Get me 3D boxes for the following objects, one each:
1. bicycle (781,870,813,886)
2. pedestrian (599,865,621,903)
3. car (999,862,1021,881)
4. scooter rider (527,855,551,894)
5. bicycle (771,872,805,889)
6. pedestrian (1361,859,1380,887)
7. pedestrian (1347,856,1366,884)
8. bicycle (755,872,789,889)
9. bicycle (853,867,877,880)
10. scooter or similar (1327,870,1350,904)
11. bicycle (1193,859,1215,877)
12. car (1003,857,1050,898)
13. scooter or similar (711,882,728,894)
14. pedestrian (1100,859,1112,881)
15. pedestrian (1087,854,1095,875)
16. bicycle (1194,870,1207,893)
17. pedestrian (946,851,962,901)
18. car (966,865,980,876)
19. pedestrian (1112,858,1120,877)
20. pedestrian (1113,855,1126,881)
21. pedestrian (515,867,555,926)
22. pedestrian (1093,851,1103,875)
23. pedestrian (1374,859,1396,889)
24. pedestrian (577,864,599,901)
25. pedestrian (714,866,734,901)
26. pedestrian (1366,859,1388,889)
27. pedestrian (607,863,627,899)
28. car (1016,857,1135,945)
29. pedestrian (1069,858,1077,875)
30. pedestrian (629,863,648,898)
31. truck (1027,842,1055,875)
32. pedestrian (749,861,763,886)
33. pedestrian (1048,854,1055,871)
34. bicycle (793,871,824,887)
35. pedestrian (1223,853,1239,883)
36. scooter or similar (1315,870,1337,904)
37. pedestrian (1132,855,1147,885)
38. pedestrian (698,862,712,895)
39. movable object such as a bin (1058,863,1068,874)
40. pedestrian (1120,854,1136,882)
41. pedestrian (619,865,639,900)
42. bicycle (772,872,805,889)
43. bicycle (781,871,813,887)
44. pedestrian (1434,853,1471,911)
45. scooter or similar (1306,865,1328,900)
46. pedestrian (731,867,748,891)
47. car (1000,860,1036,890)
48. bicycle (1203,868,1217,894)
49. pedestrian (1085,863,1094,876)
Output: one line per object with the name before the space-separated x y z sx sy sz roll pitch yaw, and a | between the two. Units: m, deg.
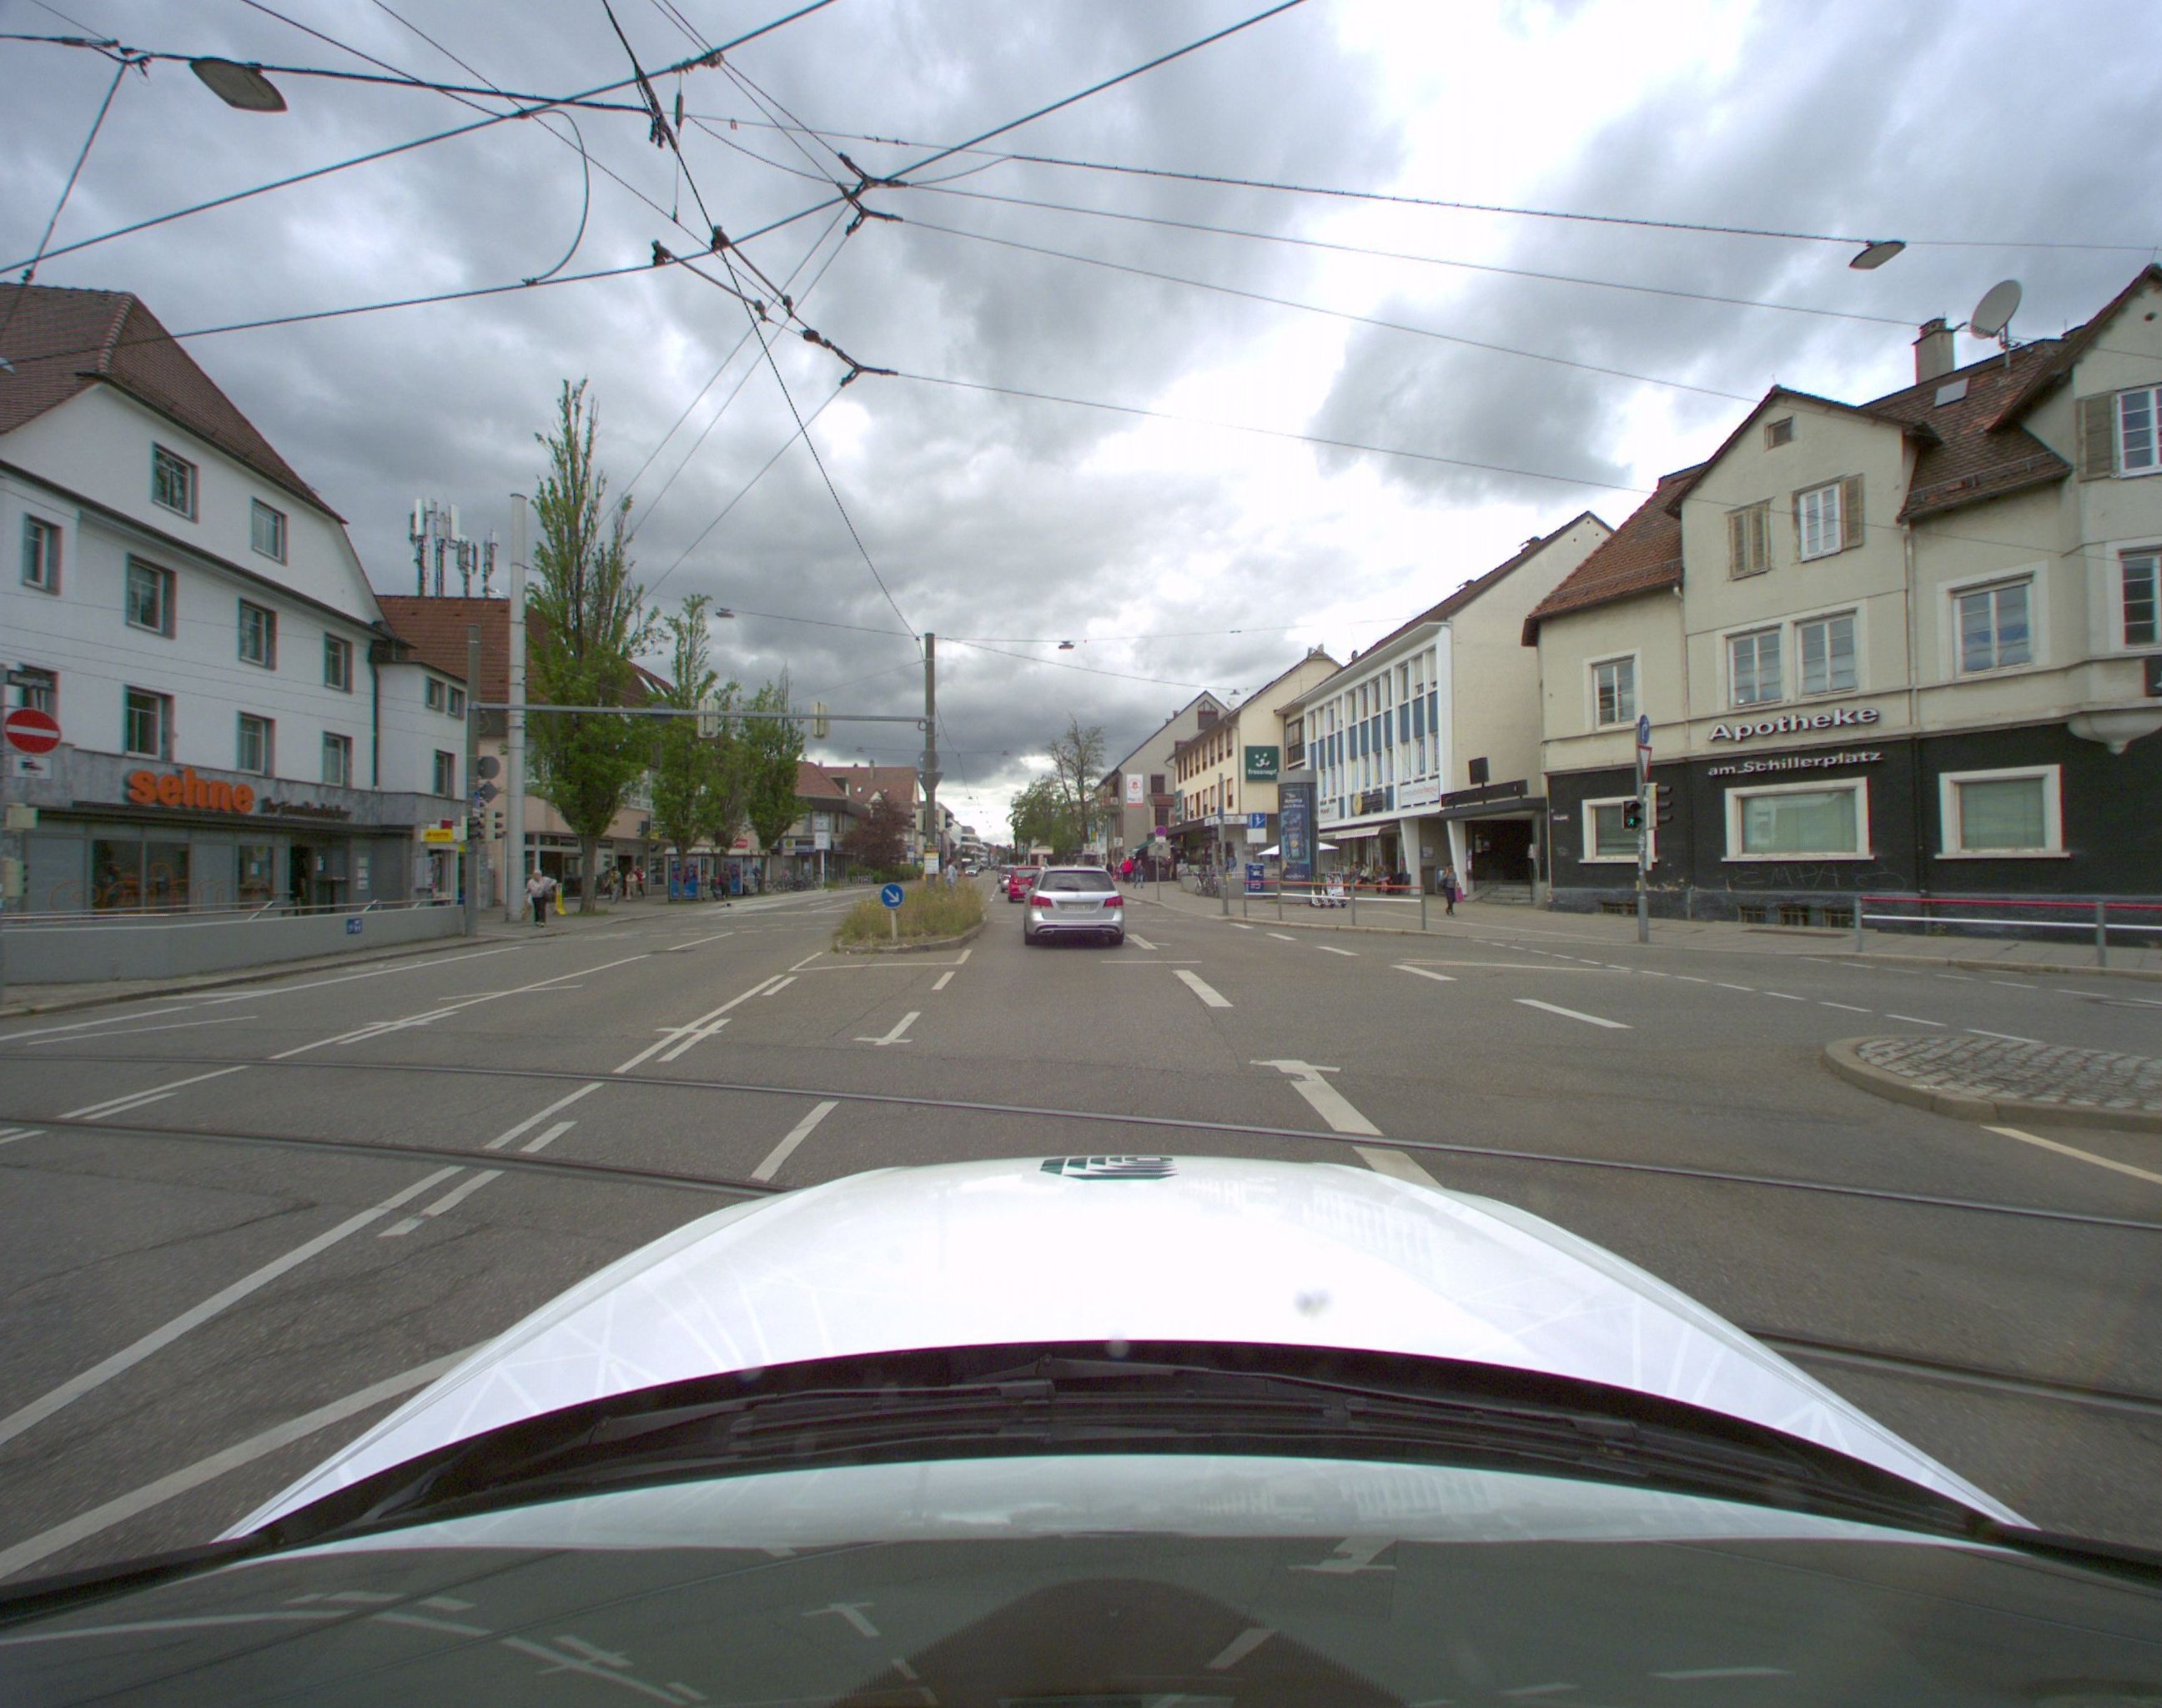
bicycle | -19.651 1.635 56.431 2.021 1.090 0.645 0 -1 -16
pedestrian | -20.776 1.327 35.928 0.585 1.634 0.613 3 -1 -8
car | -6.477 1.594 74.592 1.990 1.684 3.993 0 -1 -5
scooter rider | -24.118 0.902 36.228 0.613 1.712 0.586 3 -1 -9
bicycle | -19.468 1.730 54.178 2.018 1.090 0.647 0 -1 -11
pedestrian | 12.843 0.835 36.147 0.612 1.220 0.586 0 0 -8
pedestrian | 12.451 0.727 36.812 0.612 1.220 0.586 3 -1 -8
bicycle | -20.174 1.741 53.170 2.024 1.090 0.645 0 -1 -20
bicycle | -19.003 1.717 71.606 2.021 1.090 0.645 0 -1 -16
scooter or similar | 8.845 1.134 28.030 0.314 1.132 1.206 -1 0 -4
bicycle | 7.737 0.874 51.211 0.740 1.062 2.345 -1 0 -7
car | -2.267 0.952 33.241 1.752 1.521 3.992 1 -1 -5
scooter or similar | -18.254 1.702 41.075 0.591 0.601 0.701 0 -1 -6
pedestrian | 1.850 1.178 59.618 0.718 1.634 0.613 -1 -1 -9
pedestrian | 0.987 1.005 77.425 0.609 2.047 0.589 -2 -1 7
bicycle | 5.175 1.175 35.317 0.273 0.974 1.385 -1 0 -4
pedestrian | -4.228 0.709 27.059 0.503 1.634 0.661 0 -1 -12
car | -15.523 2.321 117.320 1.871 1.506 4.335 -2 -1 -5
pedestrian | 2.855 1.107 67.021 0.585 1.634 0.614 0 -1 -4
pedestrian | 2.635 0.967 55.573 0.682 1.742 0.779 -2 -2 -11
pedestrian | -15.743 1.220 23.492 0.700 1.634 0.613 3 -1 -11
pedestrian | 1.188 0.619 57.740 0.611 1.678 0.614 3 -1 -4
pedestrian | 12.422 0.817 33.300 0.612 1.220 0.586 3 -1 -8
pedestrian | -22.596 1.313 37.308 0.585 1.634 0.613 3 -1 -8
pedestrian | -17.225 1.411 39.270 0.583 1.652 0.715 0 0 4
pedestrian | 12.318 0.813 33.920 0.612 1.220 0.586 -2 0 -8
pedestrian | -22.926 1.339 40.227 0.585 1.712 0.613 3 -1 -8
car | -0.241 0.833 15.989 1.872 1.506 3.990 0 -1 -7
pedestrian | -0.776 1.221 80.707 0.538 1.634 0.582 3 -1 -30
pedestrian | -22.171 1.330 40.823 0.585 1.712 0.613 3 -1 -8
truck | -4.614 0.527 91.622 2.685 3.561 9.747 0 -1 -5
pedestrian | -23.680 1.437 59.306 0.725 1.764 0.753 3 -1 -8
pedestrian | -3.121 0.862 86.119 0.613 1.780 0.586 -1 -2 -9
bicycle | -19.422 1.759 58.045 2.021 1.090 0.645 0 -1 -16
pedestrian | 8.135 0.745 44.077 0.665 1.634 0.799 0 -1 -5
scooter or similar | 8.431 1.132 28.029 0.314 1.132 1.206 -1 0 -4
pedestrian | 3.281 0.902 45.693 0.686 1.634 0.852 -1 0 -3
pedestrian | -18.775 1.211 40.694 0.589 1.652 0.708 0 0 -24
movable object such as a bin | -2.183 1.707 98.165 1.141 1.339 1.374 -1 -1 -4
pedestrian | 2.991 0.904 51.570 0.795 1.742 0.779 -2 -2 -11
pedestrian | -21.492 1.356 38.745 0.585 1.634 0.613 3 -1 -8
bicycle | -19.806 1.772 55.199 2.021 1.090 0.645 0 -1 -16
bicycle | -19.895 1.724 57.100 2.021 1.090 0.645 0 -1 -16
pedestrian | 10.686 0.813 23.441 0.590 1.622 0.736 3 -1 -37
scooter or similar | 8.088 0.967 27.964 0.314 1.132 1.206 -1 0 -4
pedestrian | -19.710 1.456 46.990 0.710 1.364 0.587 0 0 -4
car | -3.683 1.188 47.348 1.990 1.684 3.993 0 -1 -5
bicycle | 5.361 1.103 33.840 0.273 1.053 1.385 -1 0 -4
pedestrian | 0.766 1.440 74.694 0.712 1.166 0.585 0 0 -12
